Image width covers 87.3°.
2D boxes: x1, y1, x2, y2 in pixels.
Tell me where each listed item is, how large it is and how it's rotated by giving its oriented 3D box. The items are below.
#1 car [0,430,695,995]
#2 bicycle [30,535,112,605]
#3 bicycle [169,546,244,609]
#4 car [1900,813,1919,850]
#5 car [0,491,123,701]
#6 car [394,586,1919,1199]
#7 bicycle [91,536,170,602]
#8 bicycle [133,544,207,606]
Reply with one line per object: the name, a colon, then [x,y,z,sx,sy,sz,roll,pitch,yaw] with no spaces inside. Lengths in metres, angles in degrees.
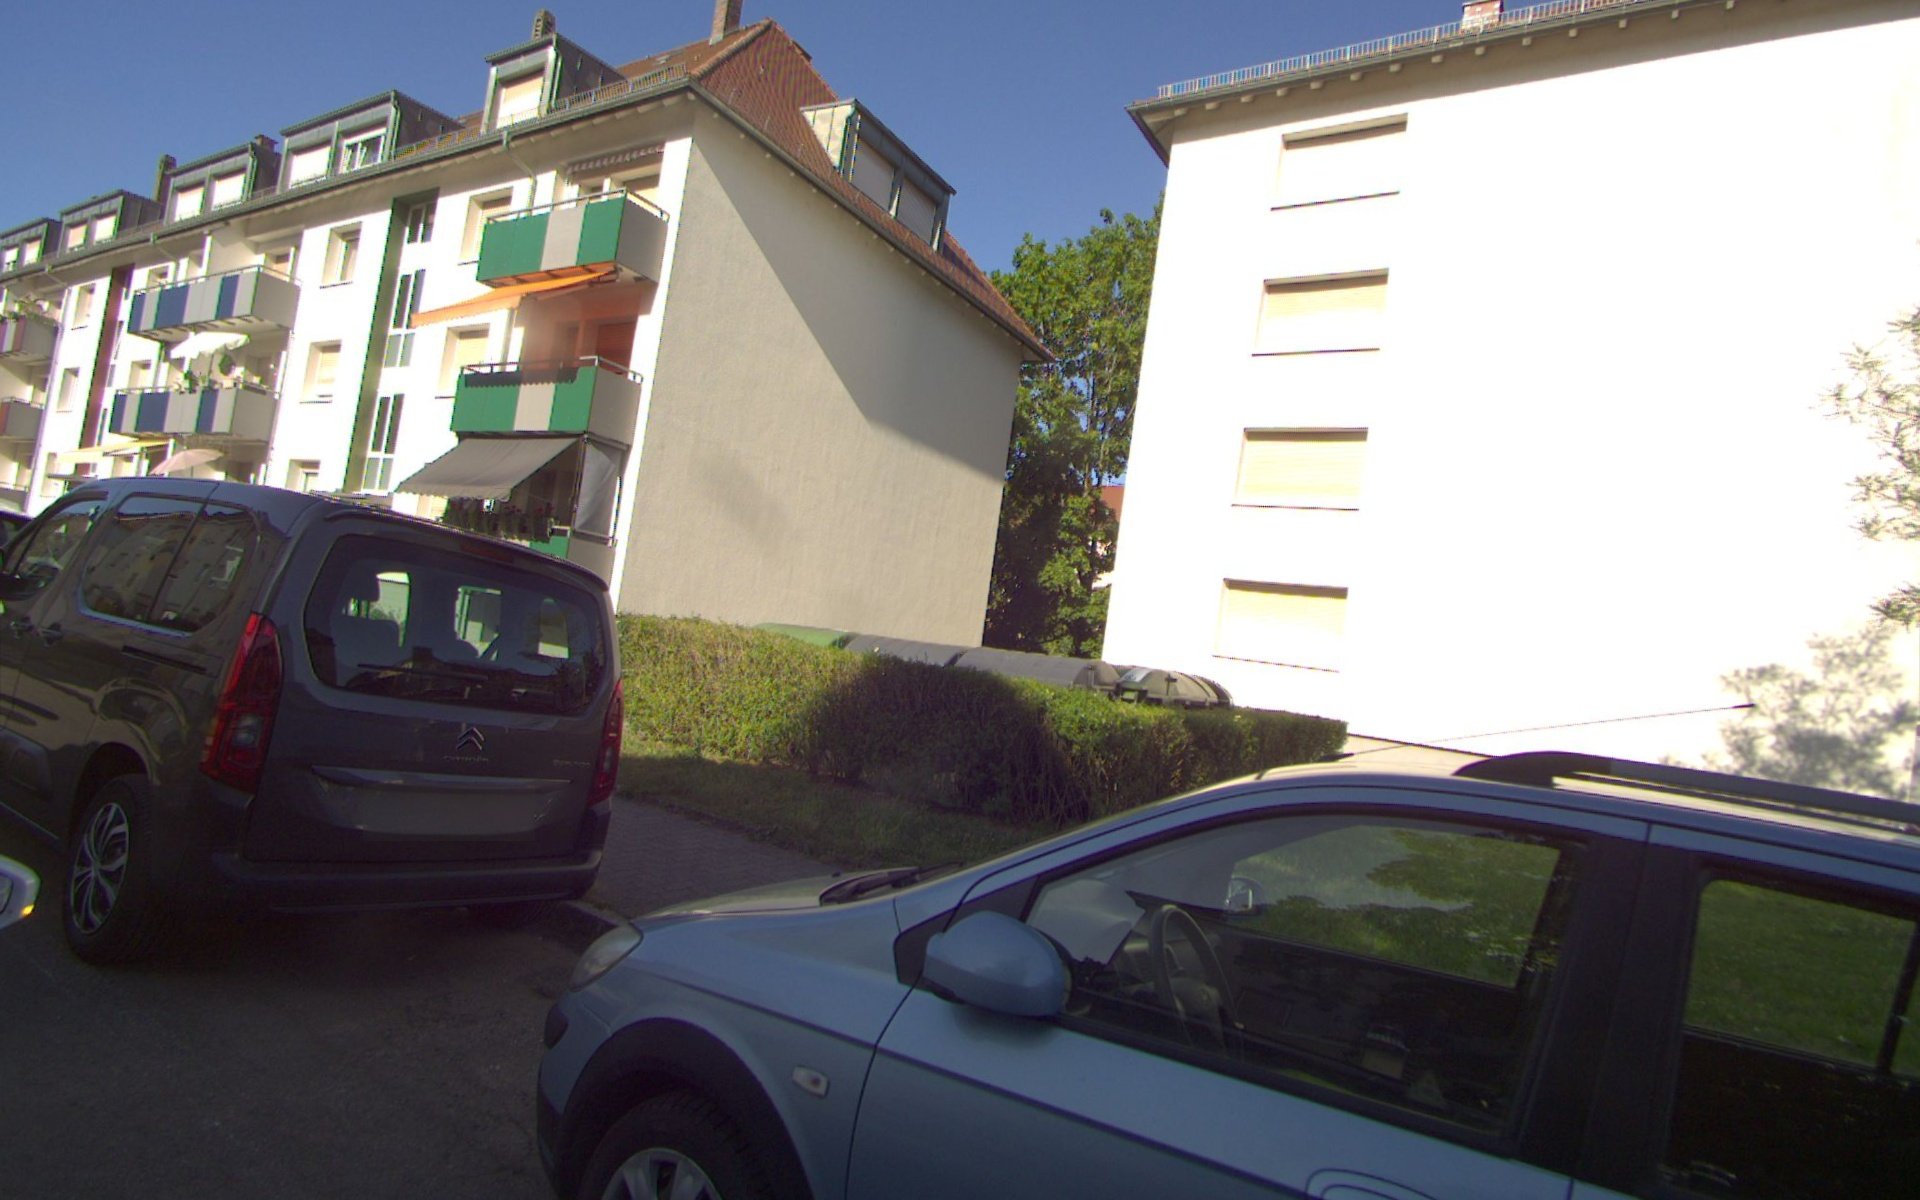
car: [-3.604,0.279,5.044,4.226,1.749,1.868,6,-4,33]
bicycle: [-16.860,-0.573,19.068,1.870,1.104,0.560,6,-3,33]
bicycle: [-15.918,-0.476,21.238,1.800,1.115,0.560,6,-3,33]
car: [43.004,10.336,43.949,1.819,1.488,5.062,6,-5,33]
car: [-9.415,-0.271,8.731,4.057,1.608,1.988,6,-4,32]
car: [0.852,0.979,2.057,3.834,1.444,1.658,6,-4,31]
bicycle: [-16.418,-0.621,19.899,1.870,1.104,0.560,6,-3,33]
bicycle: [-16.243,-0.530,20.679,1.835,1.065,0.515,6,-3,33]
